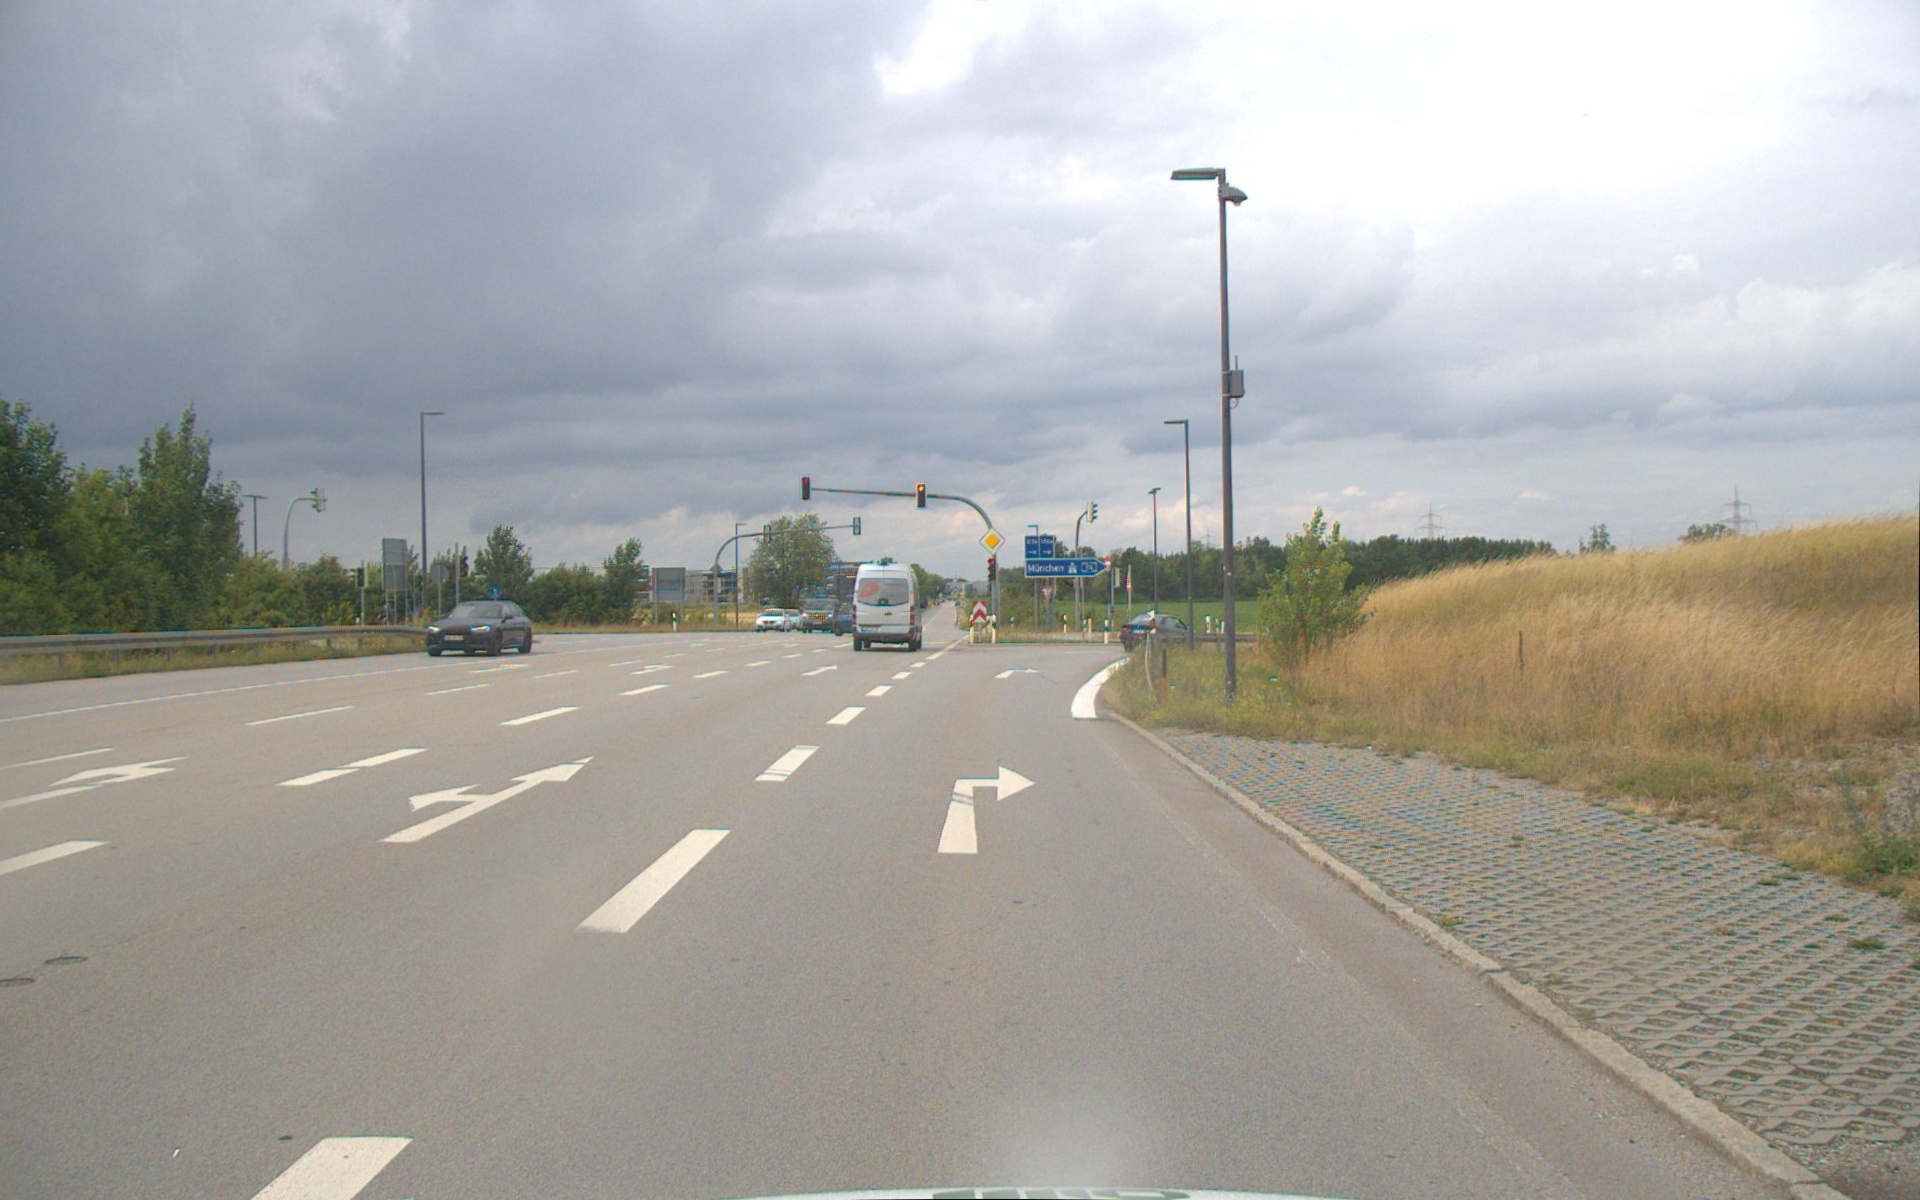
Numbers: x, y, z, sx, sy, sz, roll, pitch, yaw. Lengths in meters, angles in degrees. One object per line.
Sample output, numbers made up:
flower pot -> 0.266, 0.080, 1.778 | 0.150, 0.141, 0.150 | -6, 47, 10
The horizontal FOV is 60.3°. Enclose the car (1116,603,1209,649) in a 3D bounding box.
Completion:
car -> 7.143, 0.892, 58.277 | 1.495, 1.511, 3.595 | -1, 0, 41

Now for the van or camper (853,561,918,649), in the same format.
van or camper -> -2.298, 0.142, 51.598 | 1.838, 2.626, 4.000 | 0, 0, 0

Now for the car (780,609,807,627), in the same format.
car -> -11.490, 1.219, 114.024 | 1.450, 1.199, 3.534 | -1, 0, 1

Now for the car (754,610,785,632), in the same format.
car -> -11.918, 1.296, 103.497 | 1.450, 1.305, 3.534 | -1, 0, 1

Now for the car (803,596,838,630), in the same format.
car -> -7.982, 0.710, 94.883 | 1.604, 1.884, 3.749 | -1, 0, 1

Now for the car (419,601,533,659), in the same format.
car -> -12.795, 0.791, 43.946 | 1.806, 1.450, 3.909 | -1, -1, 1
